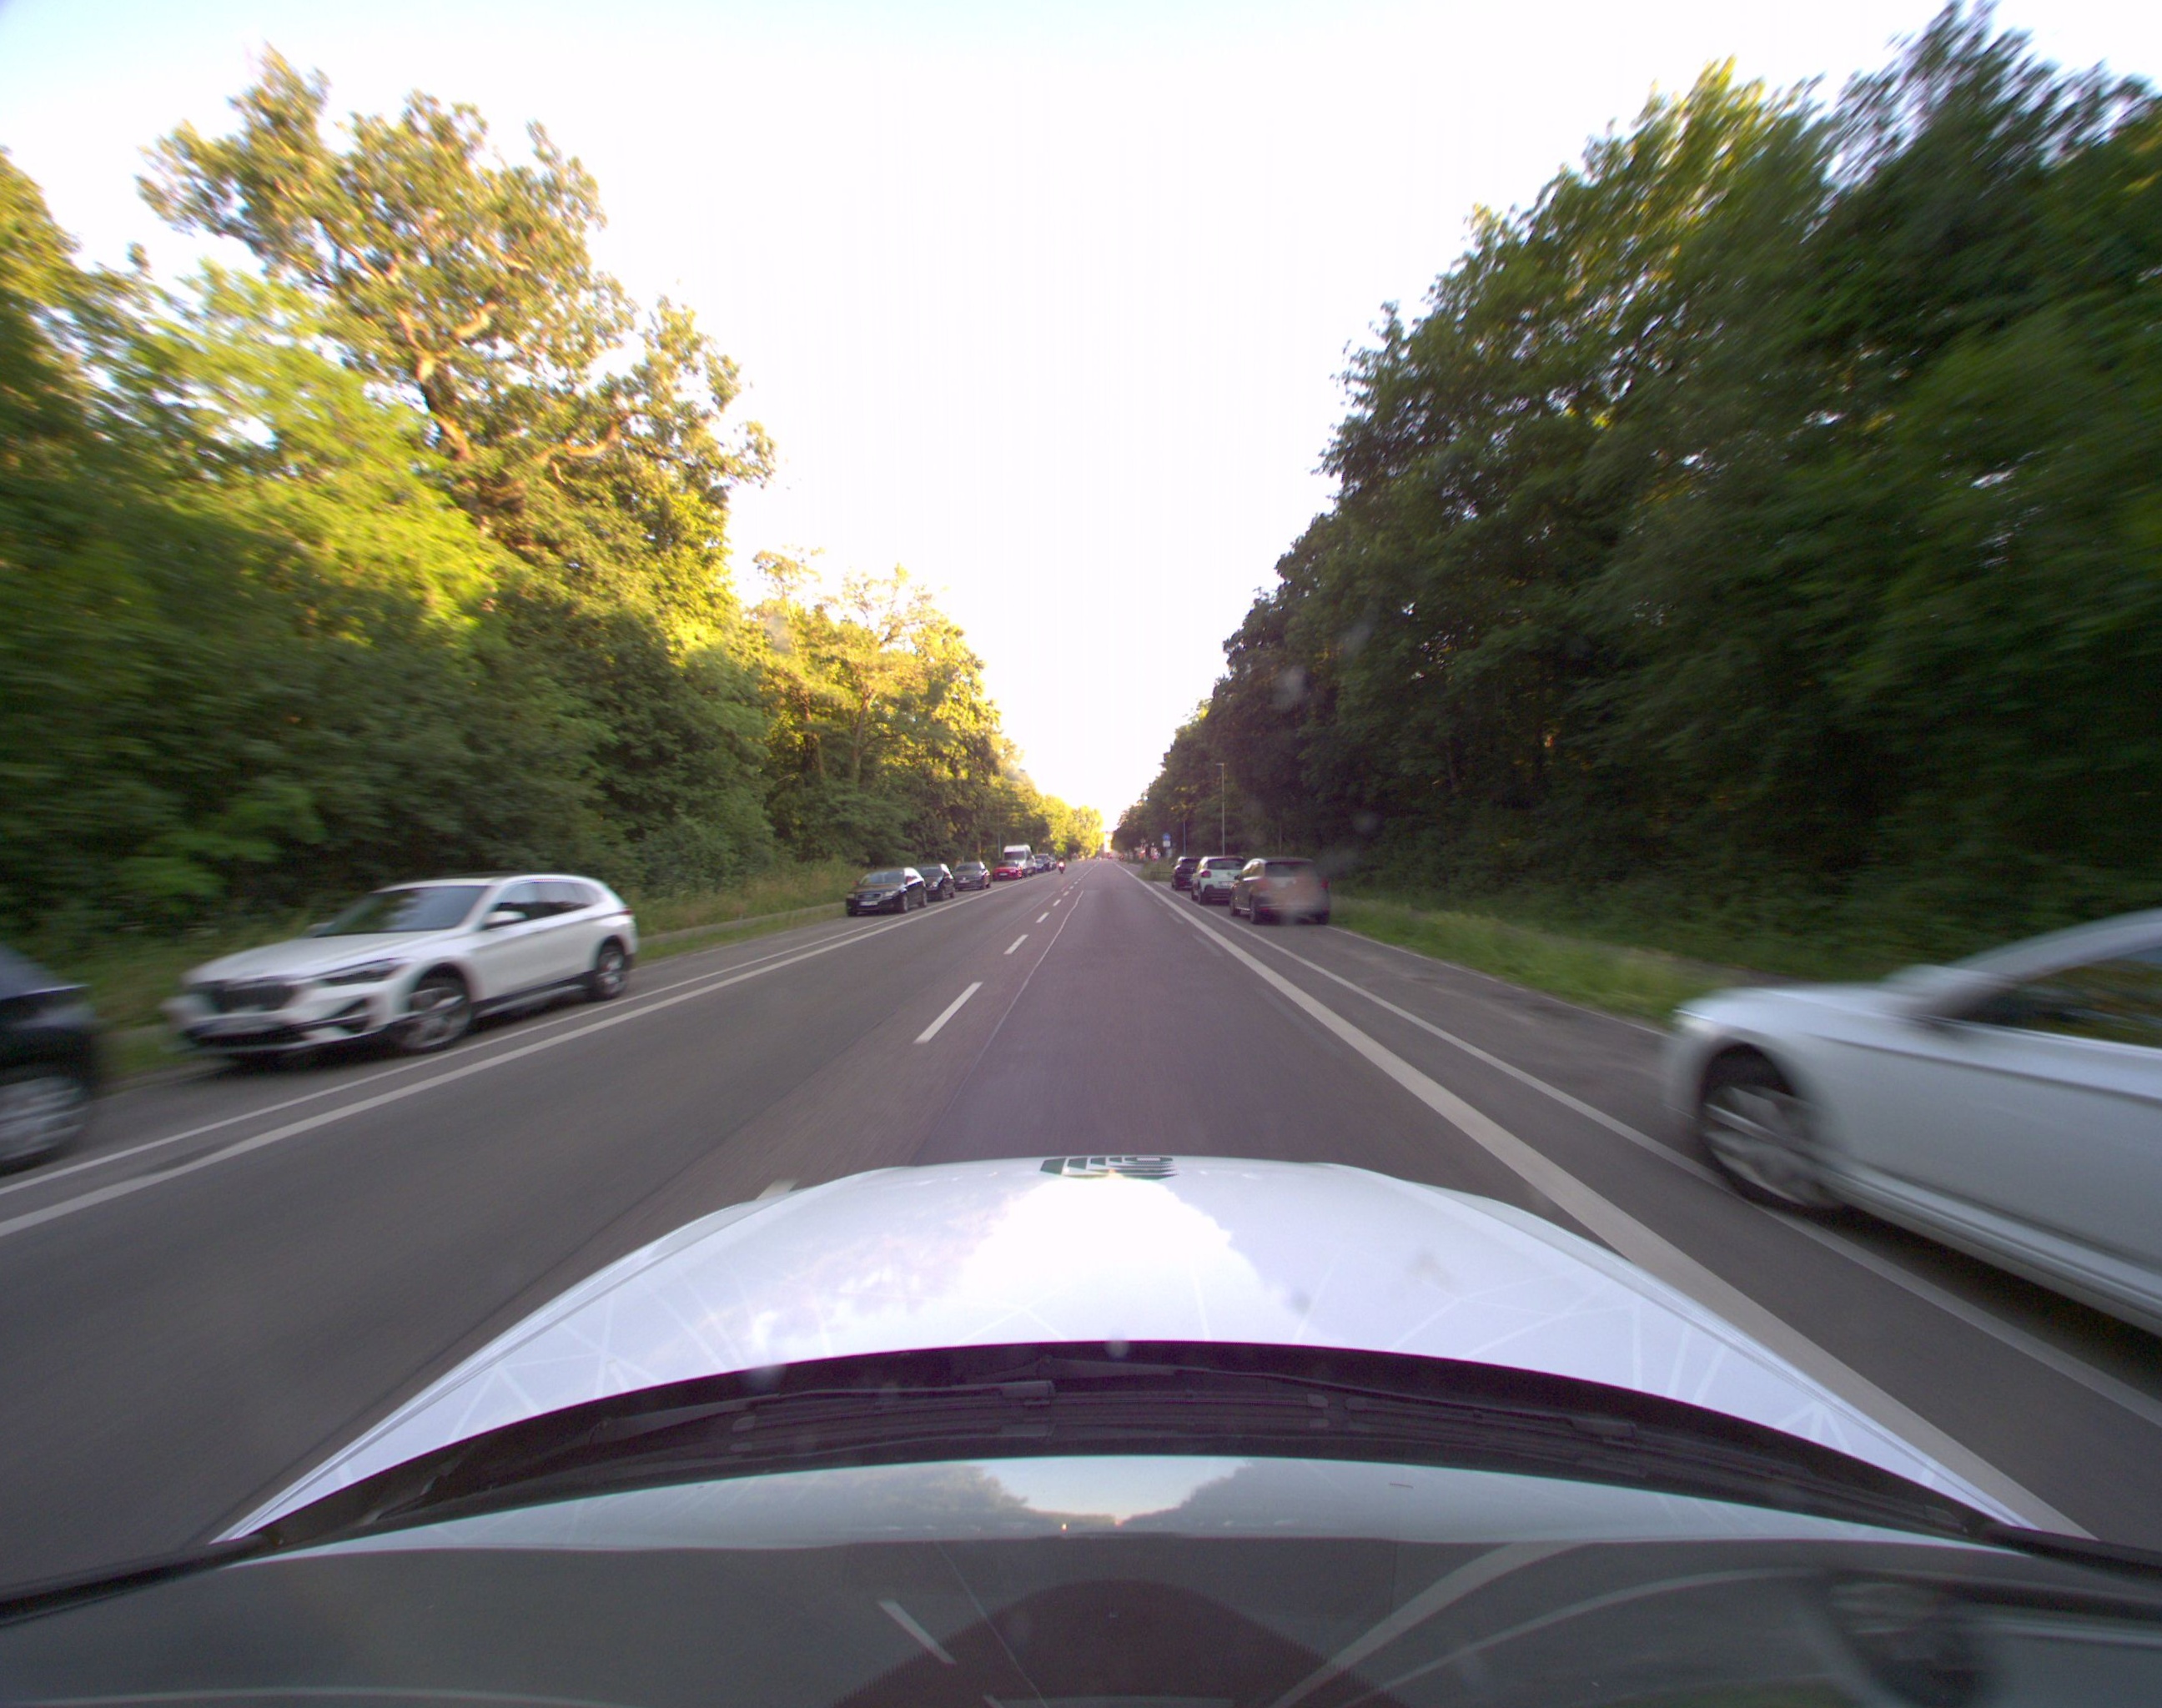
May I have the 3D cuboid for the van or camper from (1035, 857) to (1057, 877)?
[{"bbox_3d":[-3.835,1.446,90.074,1.996,2.018,5.460,-4,0,0],"label":"van or camper"}]

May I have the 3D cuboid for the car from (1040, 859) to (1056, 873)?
[{"bbox_3d":[-4.014,1.458,99.447,1.663,1.501,4.245,-3,-1,0],"label":"car"}]

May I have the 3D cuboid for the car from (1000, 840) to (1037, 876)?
[{"bbox_3d":[-5.001,0.355,65.958,2.071,2.606,7.091,-4,0,2],"label":"car"}]

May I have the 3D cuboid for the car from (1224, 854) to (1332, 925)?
[{"bbox_3d":[4.471,0.753,19.027,1.573,1.446,3.961,-2,0,1],"label":"car"}]

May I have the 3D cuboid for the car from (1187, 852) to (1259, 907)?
[{"bbox_3d":[4.417,0.757,25.831,1.682,1.546,4.114,-2,0,2],"label":"car"}]

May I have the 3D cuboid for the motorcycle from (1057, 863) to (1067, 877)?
[{"bbox_3d":[-1.668,1.390,71.967,0.608,1.126,1.964,-2,0,5],"label":"motorcycle"}]

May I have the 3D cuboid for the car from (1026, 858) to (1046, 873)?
[{"bbox_3d":[-4.571,1.171,83.498,1.663,1.433,4.448,-3,0,2],"label":"car"}]

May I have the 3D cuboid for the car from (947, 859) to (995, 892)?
[{"bbox_3d":[-5.617,1.065,42.118,1.840,1.462,4.228,-4,0,-1],"label":"car"}]

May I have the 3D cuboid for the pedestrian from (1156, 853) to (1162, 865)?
[{"bbox_3d":[12.009,0.804,125.630,0.835,1.751,0.726,-1,-1,2],"label":"pedestrian"}]

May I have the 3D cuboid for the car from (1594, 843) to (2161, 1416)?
[{"bbox_3d":[3.751,0.720,2.101,1.838,1.493,4.758,-1,0,-1],"label":"car"}]

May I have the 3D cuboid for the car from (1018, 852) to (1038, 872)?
[{"bbox_3d":[-5.085,0.820,78.524,1.682,1.858,4.385,0,-1,-1],"label":"car"}]

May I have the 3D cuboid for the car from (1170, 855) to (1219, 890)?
[{"bbox_3d":[4.913,0.775,35.788,1.704,1.444,4.124,-1,0,2],"label":"car"}]

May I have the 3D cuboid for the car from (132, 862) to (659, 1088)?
[{"bbox_3d":[-6.601,0.978,8.725,1.690,1.646,4.572,-3,0,0],"label":"car"}]

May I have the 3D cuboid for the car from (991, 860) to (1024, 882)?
[{"bbox_3d":[-5.238,1.190,58.708,1.709,1.430,4.391,-3,0,3],"label":"car"}]

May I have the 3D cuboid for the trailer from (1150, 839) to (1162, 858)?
[{"bbox_3d":[22.408,-1.484,242.948,3.008,5.462,7.940,-1,-1,3],"label":"trailer"}]

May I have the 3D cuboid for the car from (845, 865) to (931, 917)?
[{"bbox_3d":[-5.989,1.096,25.716,1.592,1.395,4.052,-3,0,1],"label":"car"}]

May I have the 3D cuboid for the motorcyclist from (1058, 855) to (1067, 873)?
[{"bbox_3d":[-1.639,0.902,72.105,0.601,1.529,0.996,-2,0,4],"label":"motorcyclist"}]

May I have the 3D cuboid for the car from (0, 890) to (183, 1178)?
[{"bbox_3d":[-6.721,1.037,3.428,1.666,1.520,3.735,-3,0,0],"label":"car"}]

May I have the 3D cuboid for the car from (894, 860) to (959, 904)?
[{"bbox_3d":[-6.005,1.047,32.025,1.705,1.508,3.657,-3,0,1],"label":"car"}]
